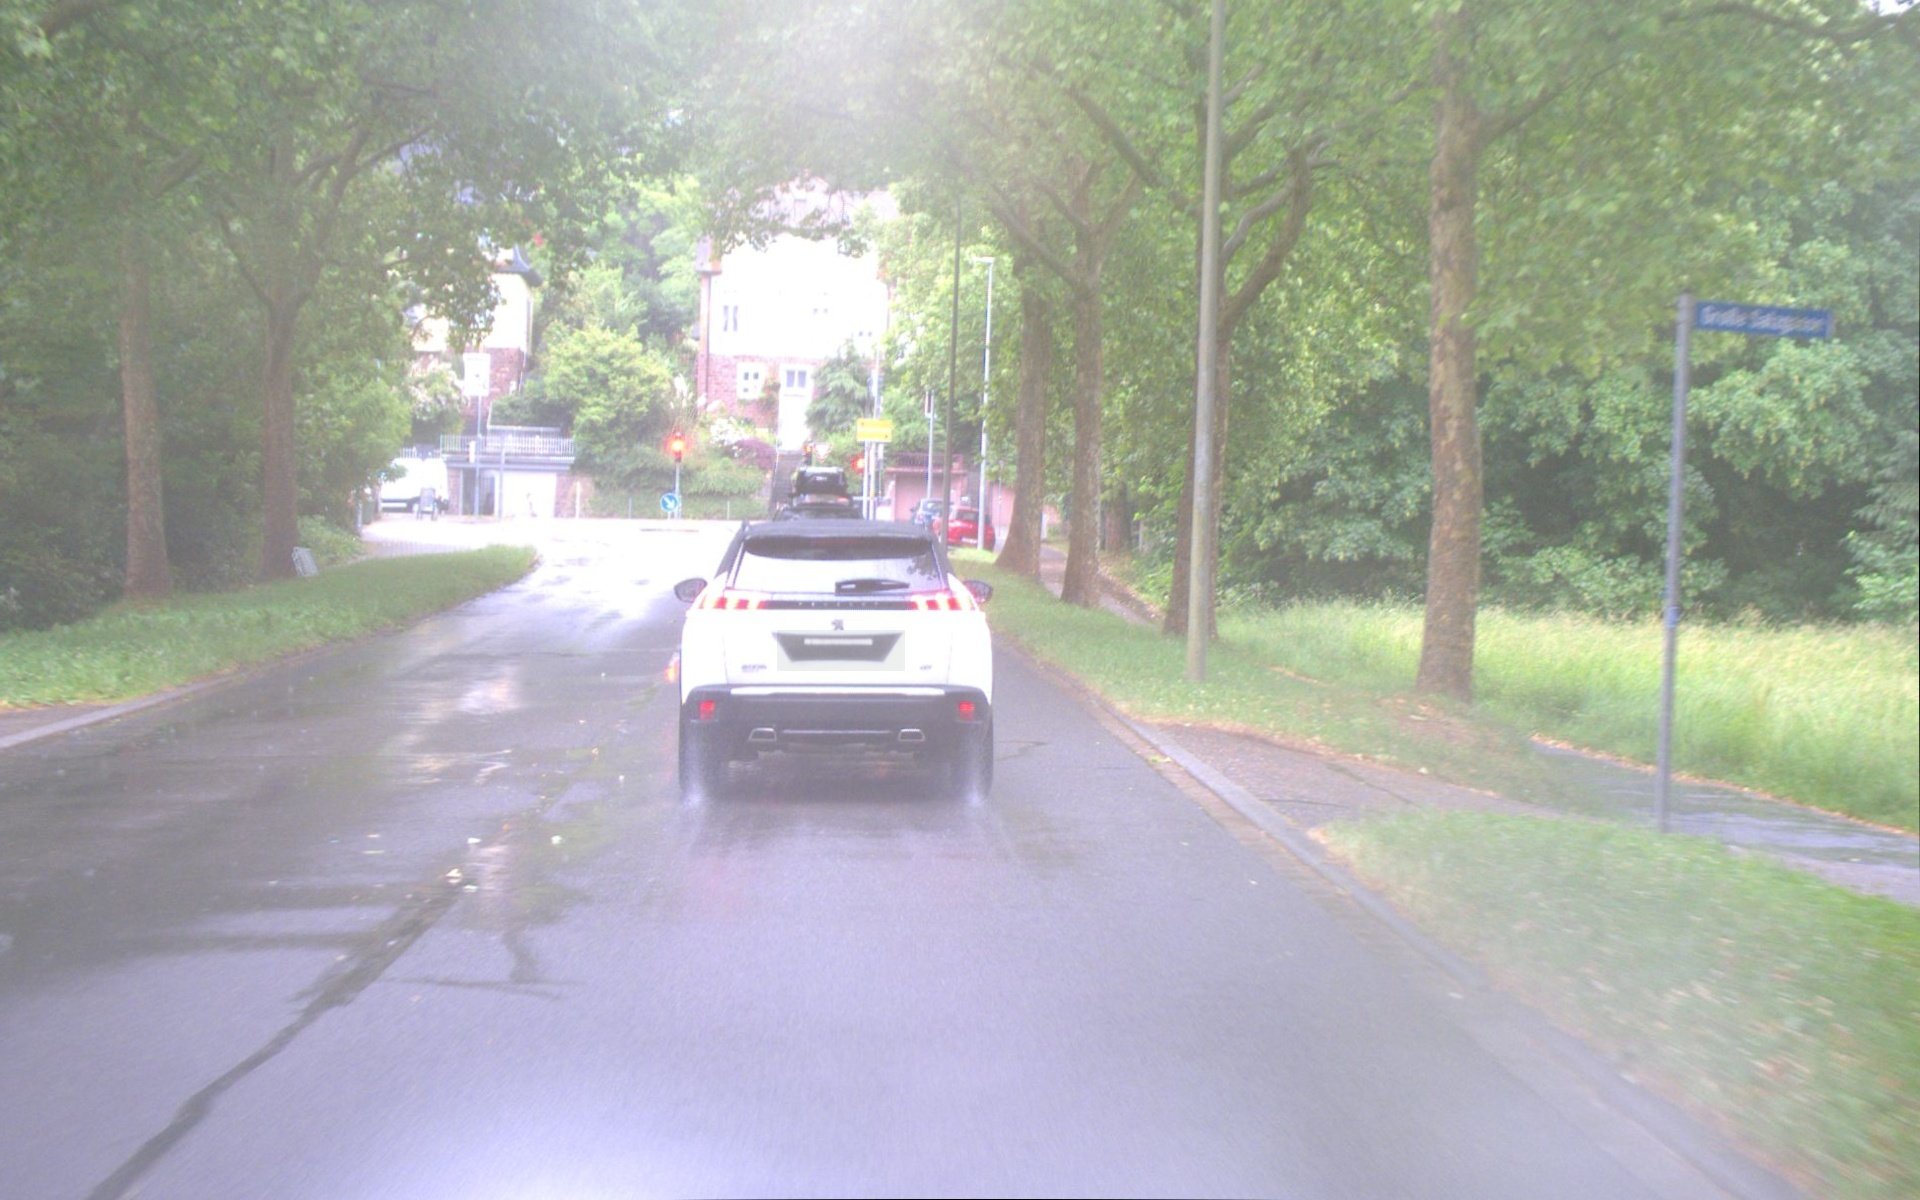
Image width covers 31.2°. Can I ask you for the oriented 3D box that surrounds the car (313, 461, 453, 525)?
[{"bbox_3d":[-25.061,-4.652,149.561,5.660,2.485,2.316,3,0,-2],"label":"car"}]

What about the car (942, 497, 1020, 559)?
[{"bbox_3d":[0.648,-2.291,108.833,1.819,1.512,3.744,9,3,-7],"label":"car"}]

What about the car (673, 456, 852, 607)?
[{"bbox_3d":[-2.257,-0.834,39.459,1.831,1.451,4.660,4,3,-3],"label":"car"}]

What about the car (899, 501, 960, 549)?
[{"bbox_3d":[-1.062,-2.594,118.453,1.749,1.486,3.600,5,1,-4],"label":"car"}]

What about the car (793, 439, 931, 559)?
[{"bbox_3d":[-1.589,-1.633,54.238,1.760,1.705,4.602,3,2,-6],"label":"car"}]

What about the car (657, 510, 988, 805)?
[{"bbox_3d":[-0.896,0.254,20.692,1.752,1.530,4.368,1,2,-4],"label":"car"}]
